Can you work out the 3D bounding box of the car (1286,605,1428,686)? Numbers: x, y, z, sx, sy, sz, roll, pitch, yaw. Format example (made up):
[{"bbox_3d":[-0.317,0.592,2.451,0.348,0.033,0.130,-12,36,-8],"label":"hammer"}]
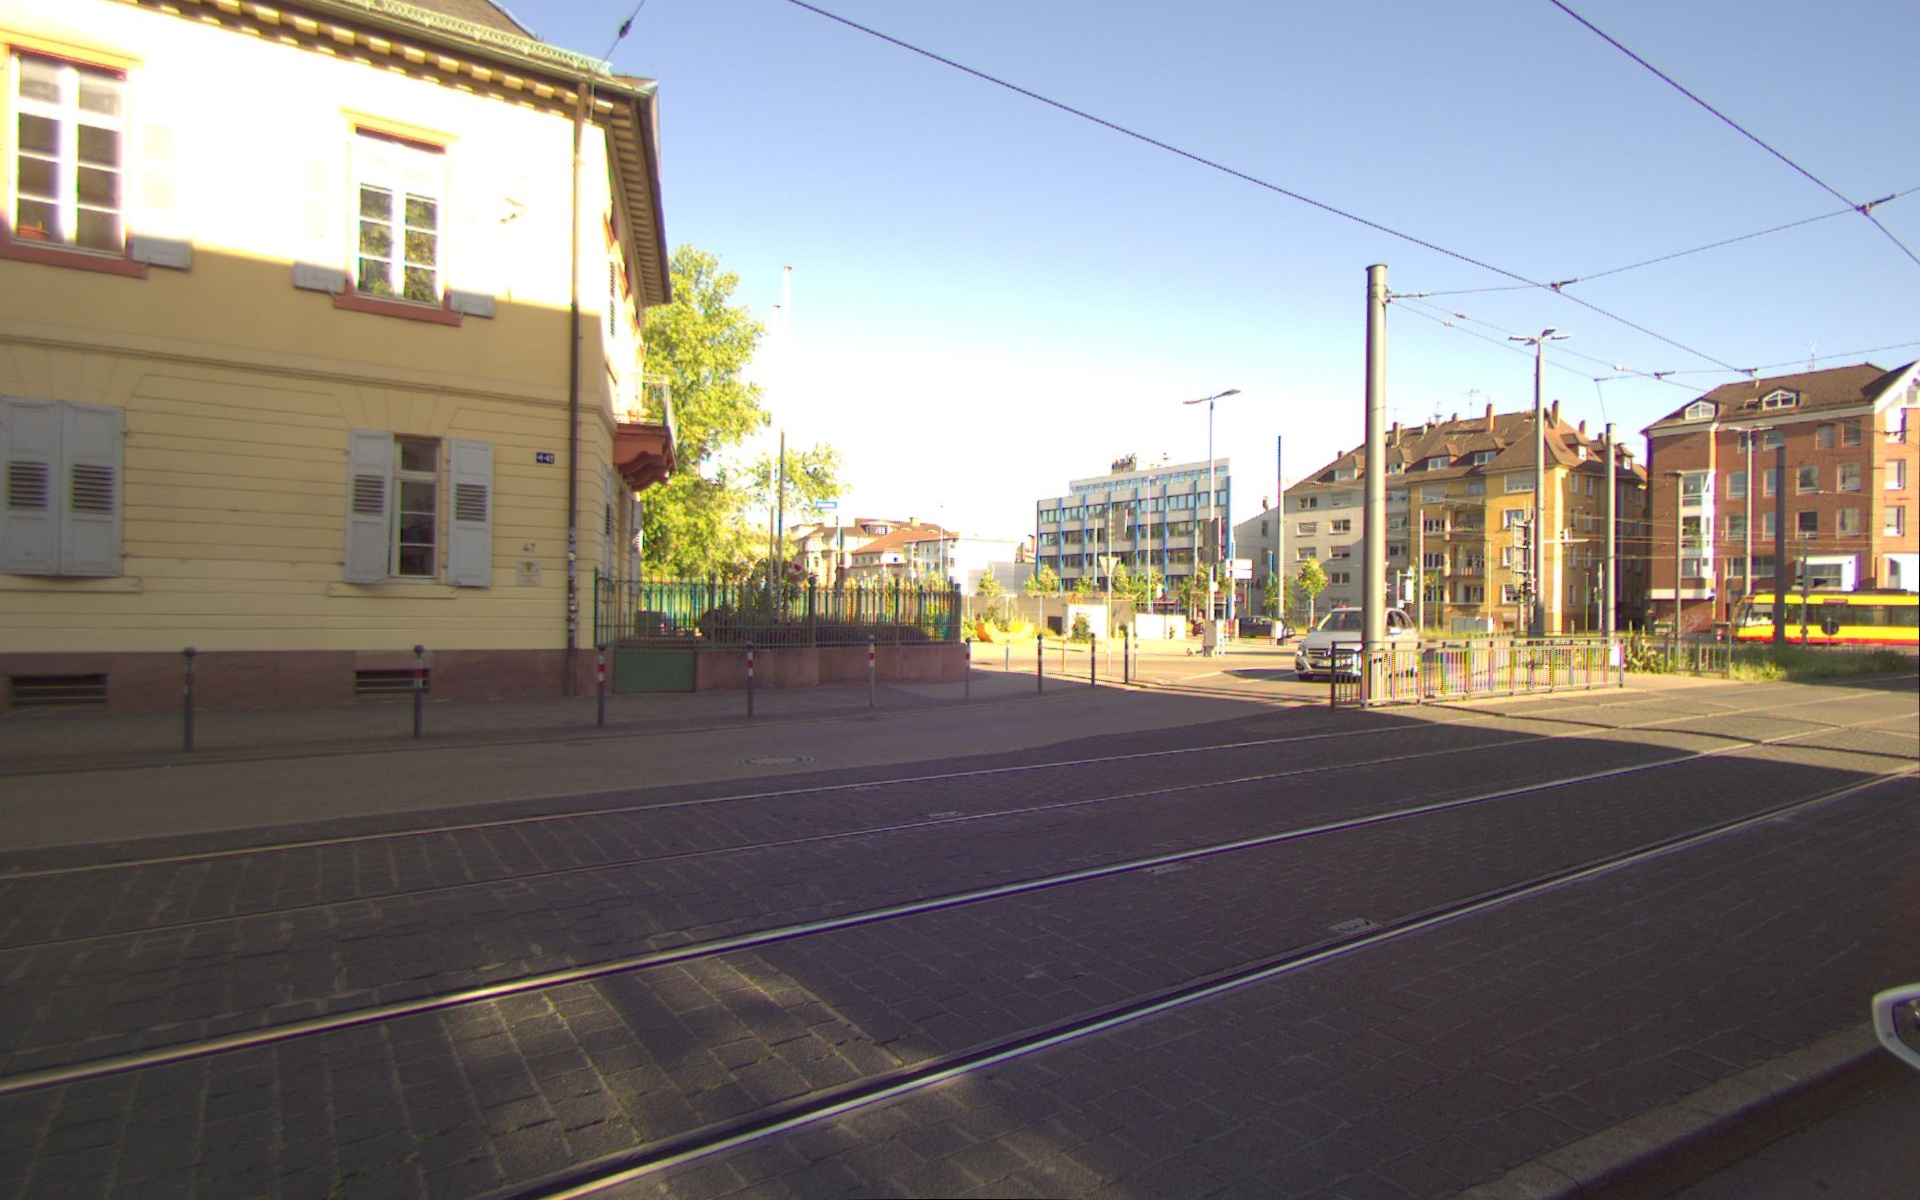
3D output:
[{"bbox_3d":[8.706,0.921,21.821,1.760,1.589,4.275,-1,-1,38],"label":"car"}]

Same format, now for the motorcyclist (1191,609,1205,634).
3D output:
[{"bbox_3d":[16.849,1.544,71.101,0.385,1.731,0.775,1,2,-38],"label":"motorcyclist"}]

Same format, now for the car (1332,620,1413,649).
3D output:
[{"bbox_3d":[24.832,2.063,60.520,1.923,1.510,4.111,1,1,-40],"label":"car"}]

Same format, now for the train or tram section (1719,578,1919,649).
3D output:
[{"bbox_3d":[53.768,0.857,59.401,13.908,3.765,2.683,2,1,17],"label":"train or tram section"}]

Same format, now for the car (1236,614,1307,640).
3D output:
[{"bbox_3d":[20.720,1.790,66.955,1.923,1.510,4.110,1,1,-40],"label":"car"}]

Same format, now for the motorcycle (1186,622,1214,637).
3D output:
[{"bbox_3d":[16.958,2.071,70.964,0.556,0.905,1.982,1,2,-38],"label":"motorcycle"}]
